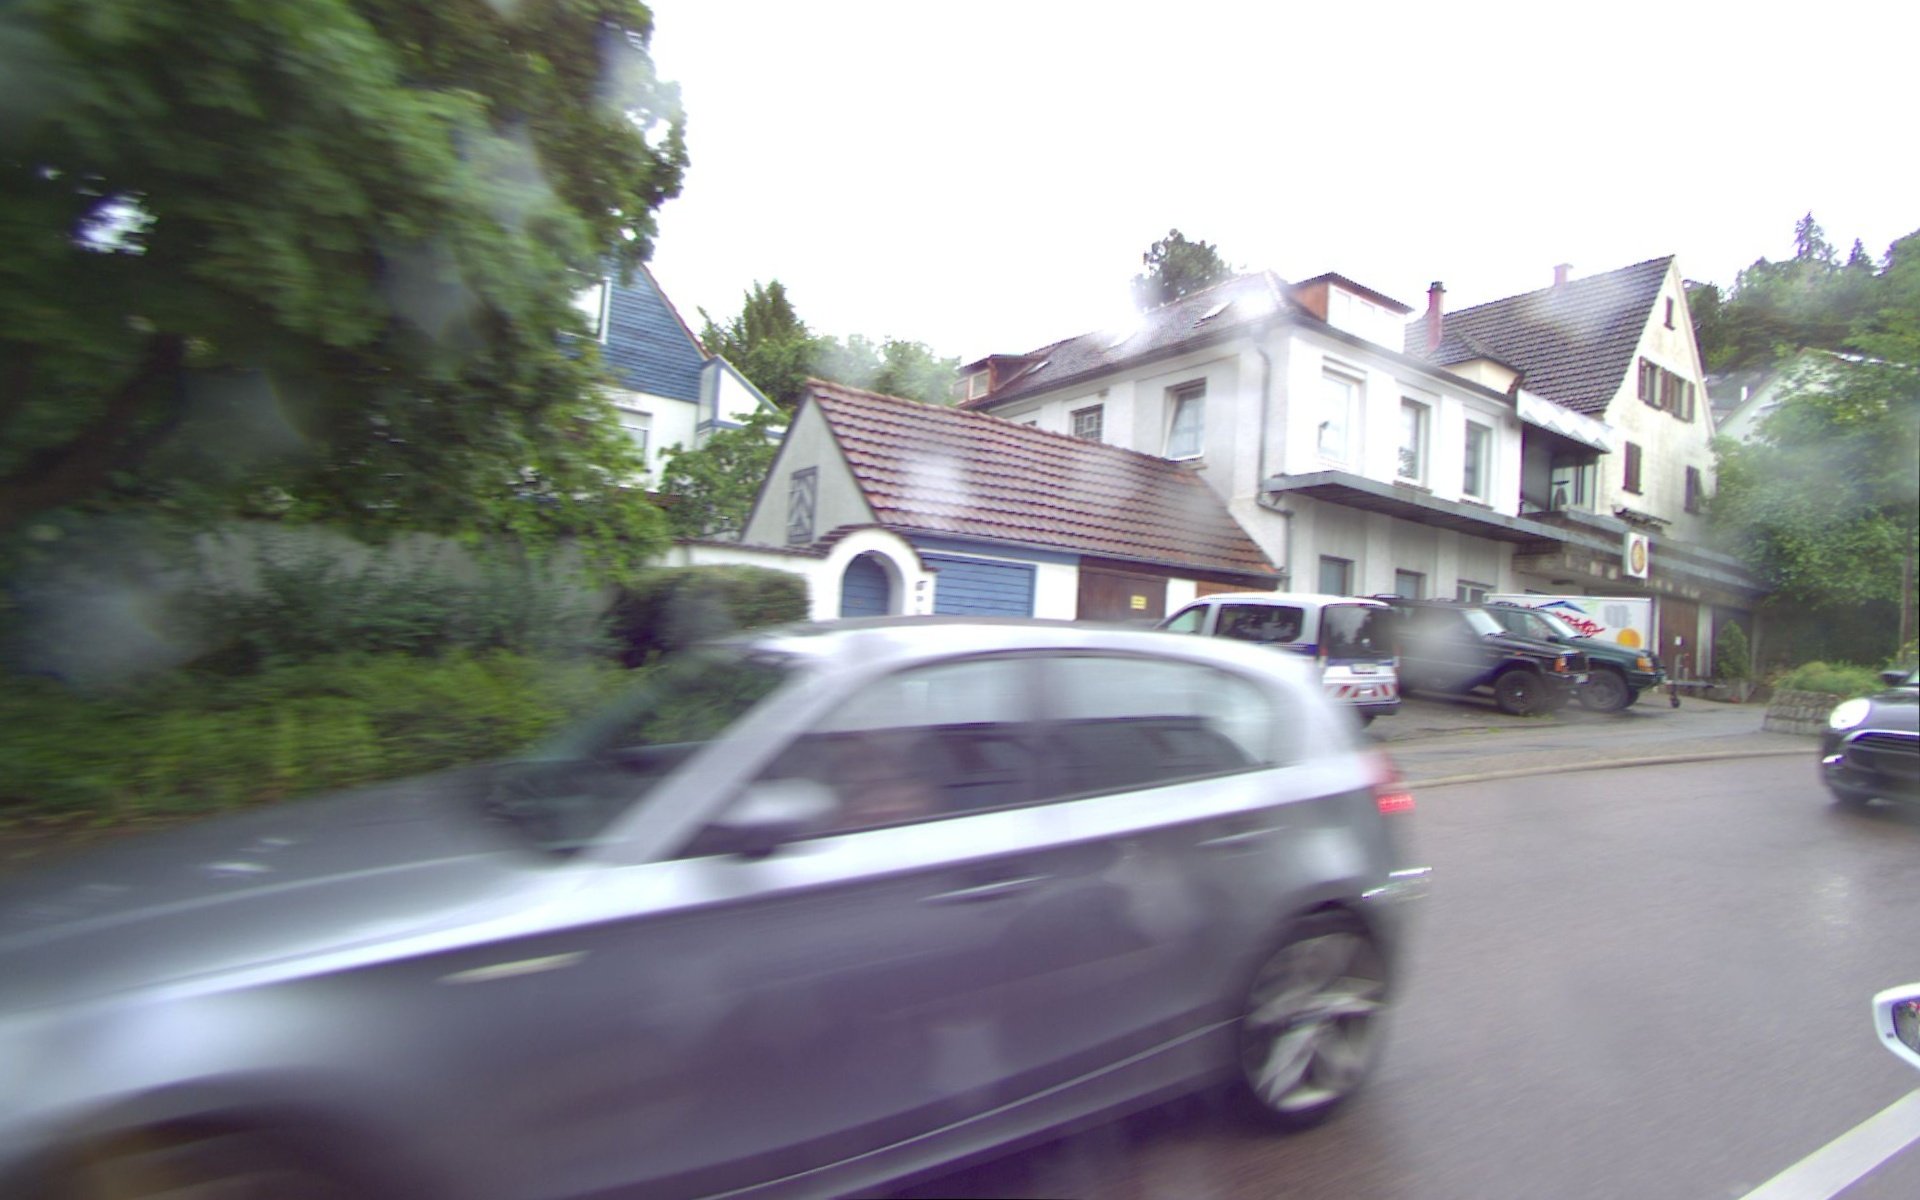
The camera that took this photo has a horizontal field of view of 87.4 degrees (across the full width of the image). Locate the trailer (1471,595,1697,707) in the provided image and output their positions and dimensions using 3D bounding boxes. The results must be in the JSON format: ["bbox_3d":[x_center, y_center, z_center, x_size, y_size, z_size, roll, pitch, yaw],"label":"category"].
[{"bbox_3d":[13.055,1.021,21.160,3.895,2.130,1.948,0,-2,35],"label":"trailer"}]

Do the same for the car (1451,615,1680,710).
[{"bbox_3d":[11.240,1.083,18.745,1.827,1.505,3.302,1,0,-44],"label":"car"}]

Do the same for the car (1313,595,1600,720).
[{"bbox_3d":[8.425,0.884,17.303,1.786,1.798,4.039,1,1,-42],"label":"car"}]

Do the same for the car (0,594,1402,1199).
[{"bbox_3d":[-0.896,0.745,2.603,3.854,1.441,1.810,1,0,-30],"label":"car"}]

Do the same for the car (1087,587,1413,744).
[{"bbox_3d":[3.829,0.759,13.957,1.977,1.824,4.085,1,0,-31],"label":"car"}]

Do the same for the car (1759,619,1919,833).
[{"bbox_3d":[8.095,0.903,7.661,3.627,1.424,1.672,1,0,-25],"label":"car"}]
